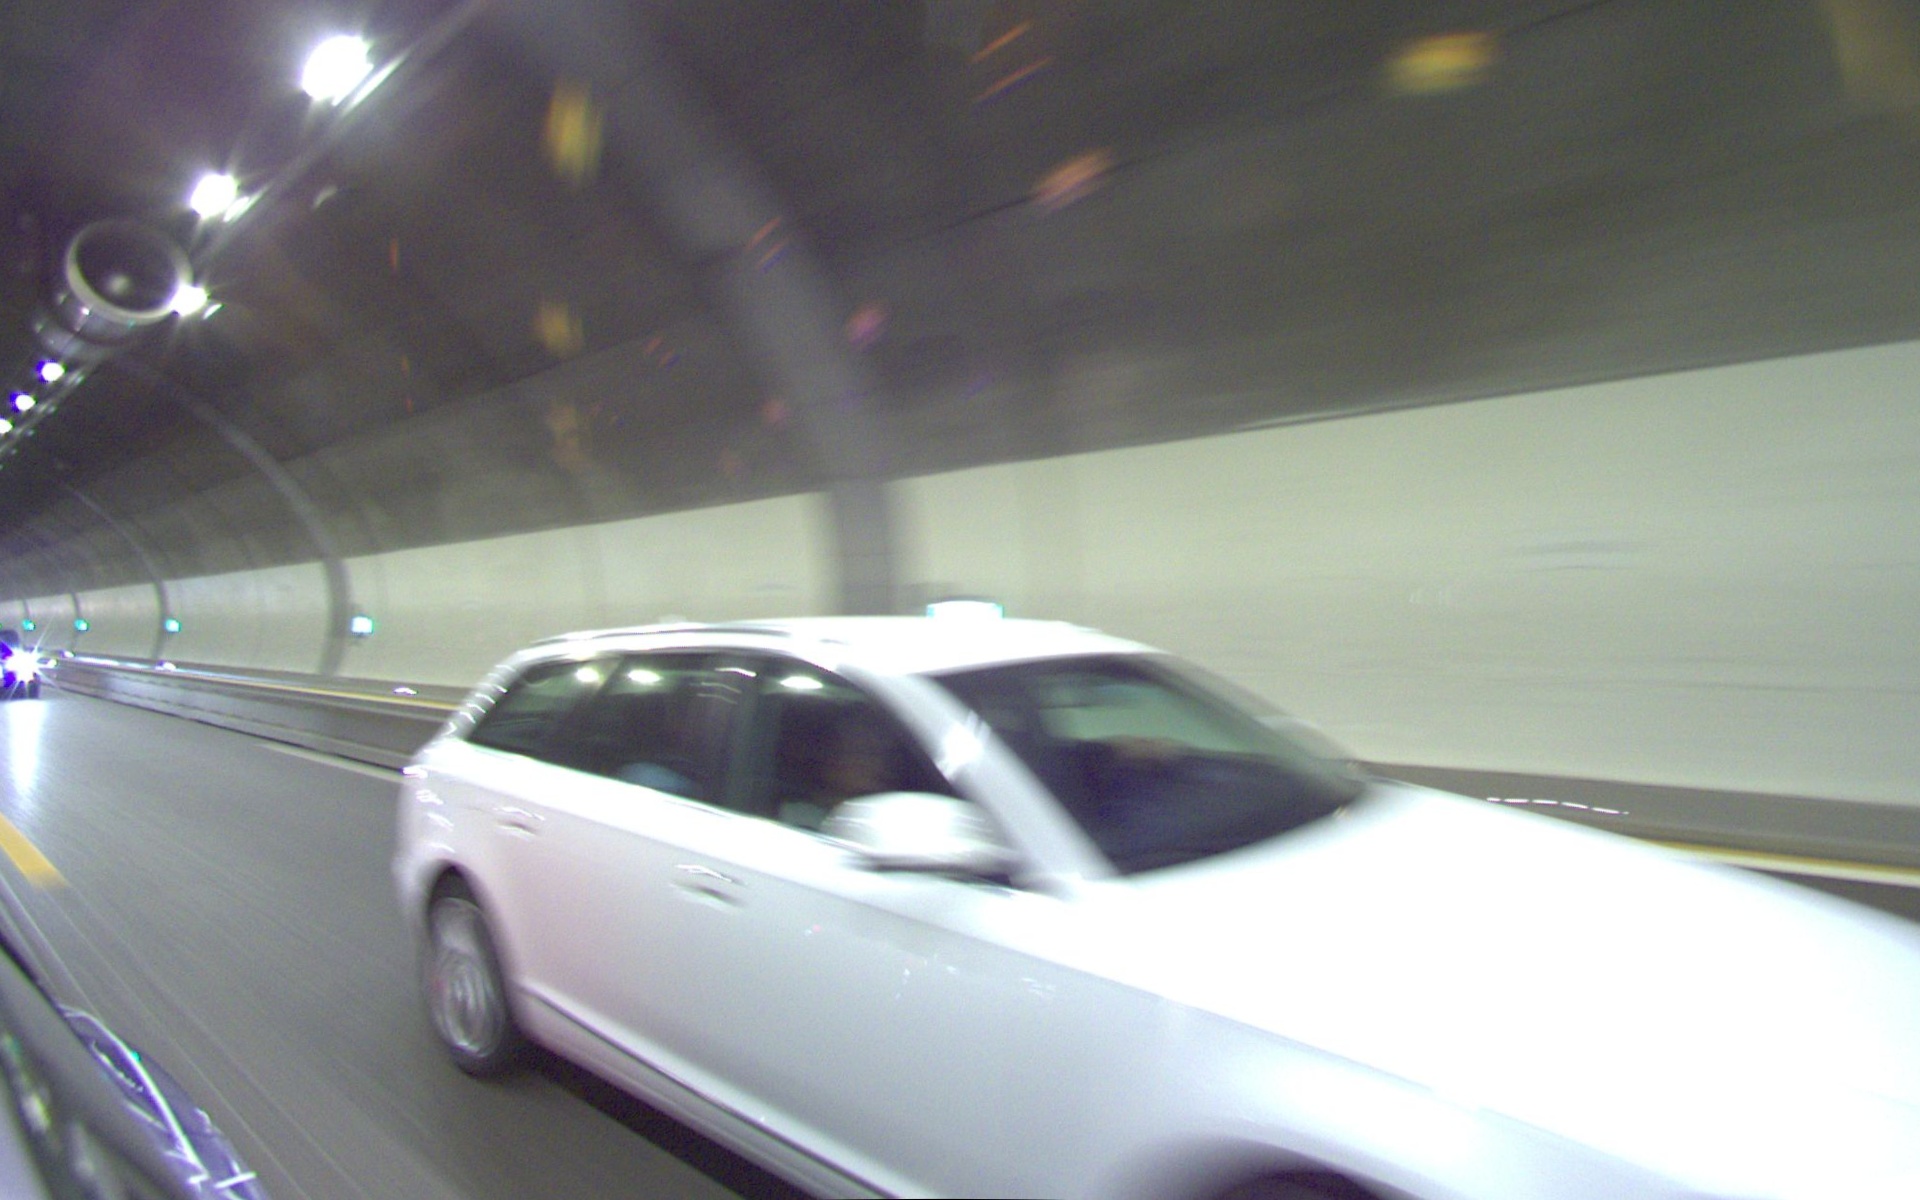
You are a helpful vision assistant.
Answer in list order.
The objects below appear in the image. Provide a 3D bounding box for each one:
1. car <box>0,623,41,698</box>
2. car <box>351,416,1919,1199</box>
[{"bbox_3d":[-19.878,1.200,20.384,3.655,1.413,1.635,-1,0,41],"label":"car"},{"bbox_3d":[0.228,0.635,2.836,4.940,1.496,1.883,-2,-3,41],"label":"car"}]
